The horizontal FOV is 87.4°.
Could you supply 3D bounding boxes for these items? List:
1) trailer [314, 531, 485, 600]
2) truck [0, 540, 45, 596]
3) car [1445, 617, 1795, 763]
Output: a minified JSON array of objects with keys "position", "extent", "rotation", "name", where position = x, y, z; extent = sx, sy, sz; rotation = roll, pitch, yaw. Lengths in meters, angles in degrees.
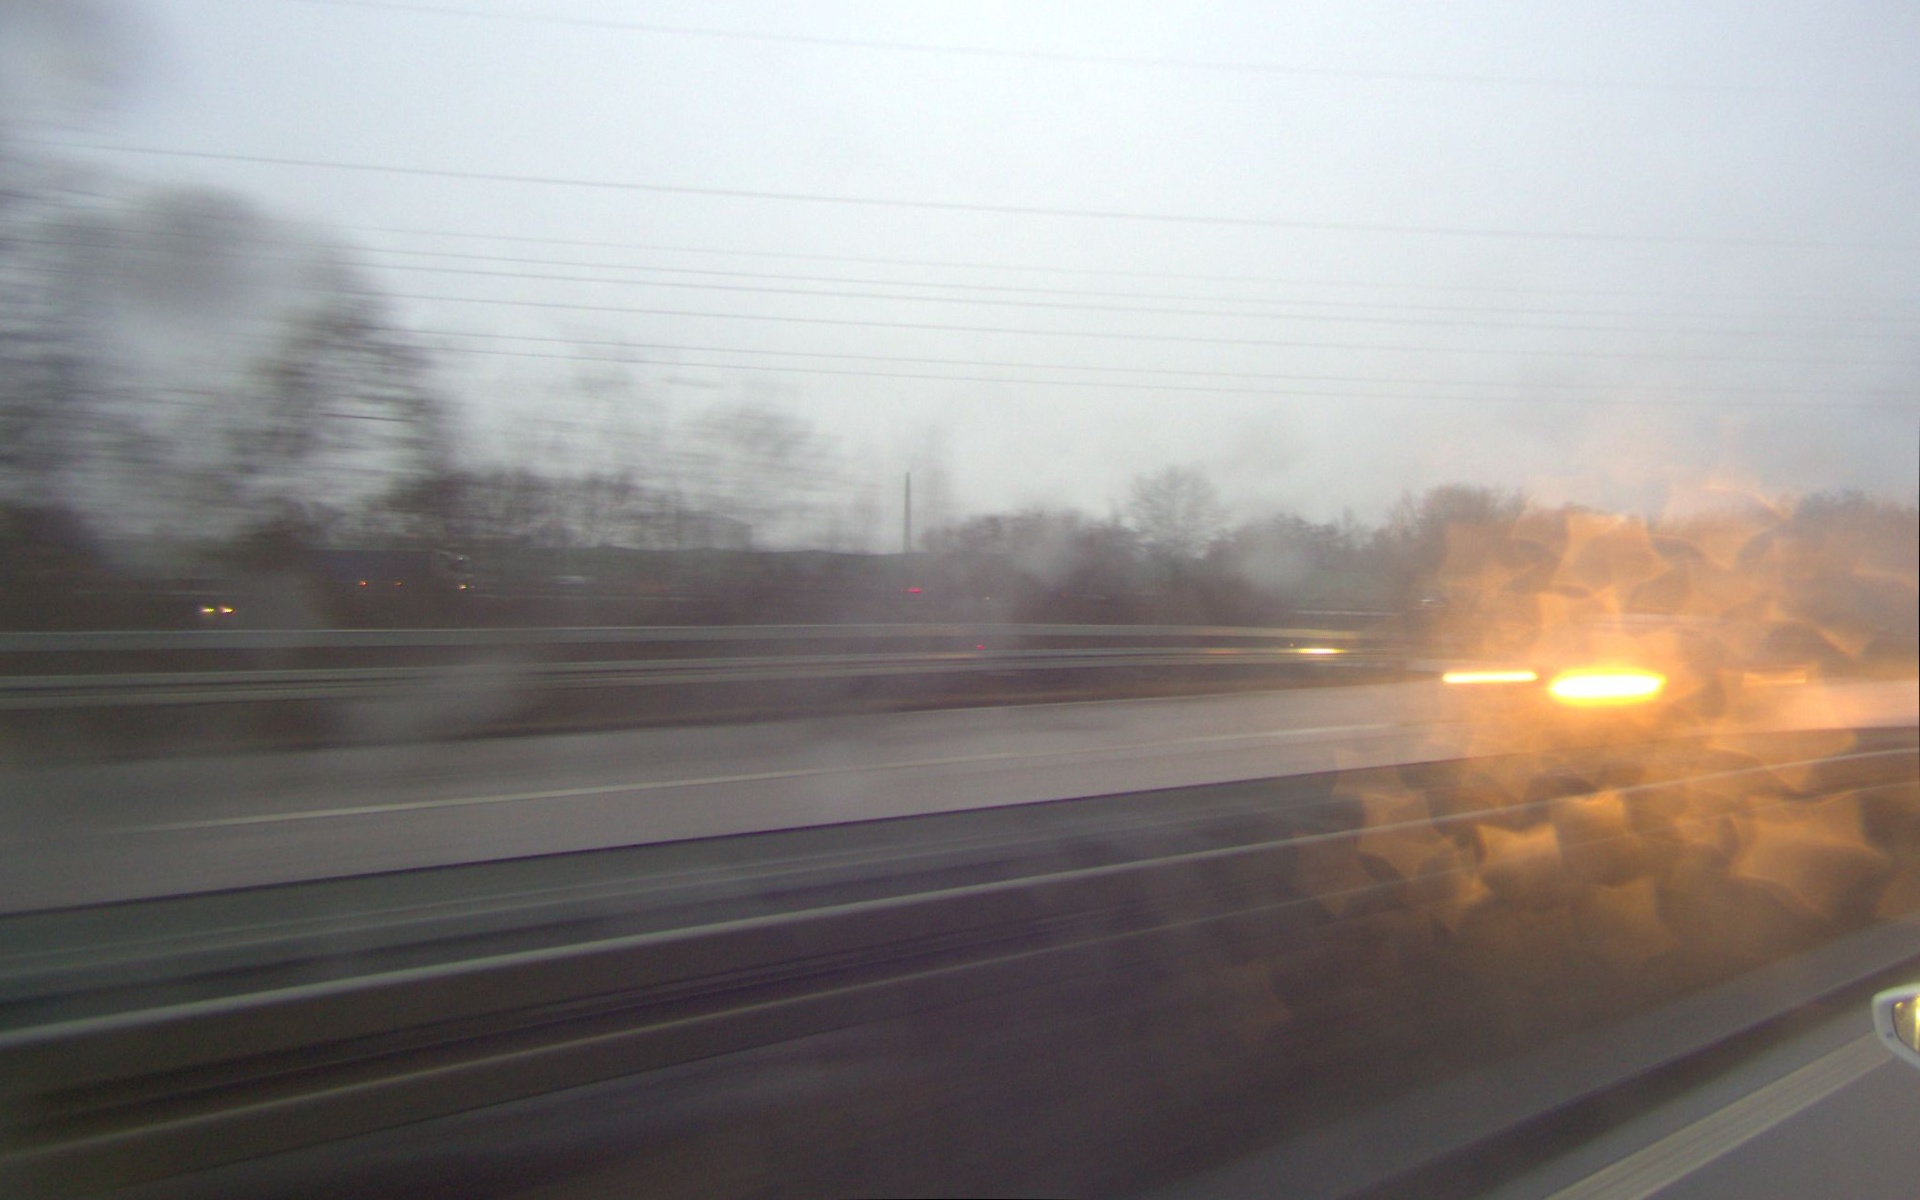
[{"position":[-49.964,-3.070,89.781],"extent":[12.976,5.171,3.311],"rotation":[4,1,-3],"name":"trailer"},{"position":[-88.215,-3.118,87.218],"extent":[13.612,4.672,3.283],"rotation":[4,1,-4],"name":"truck"},{"position":[8.265,1.008,12.494],"extent":[4.423,1.491,1.983],"rotation":[2,-1,-32],"name":"car"}]
